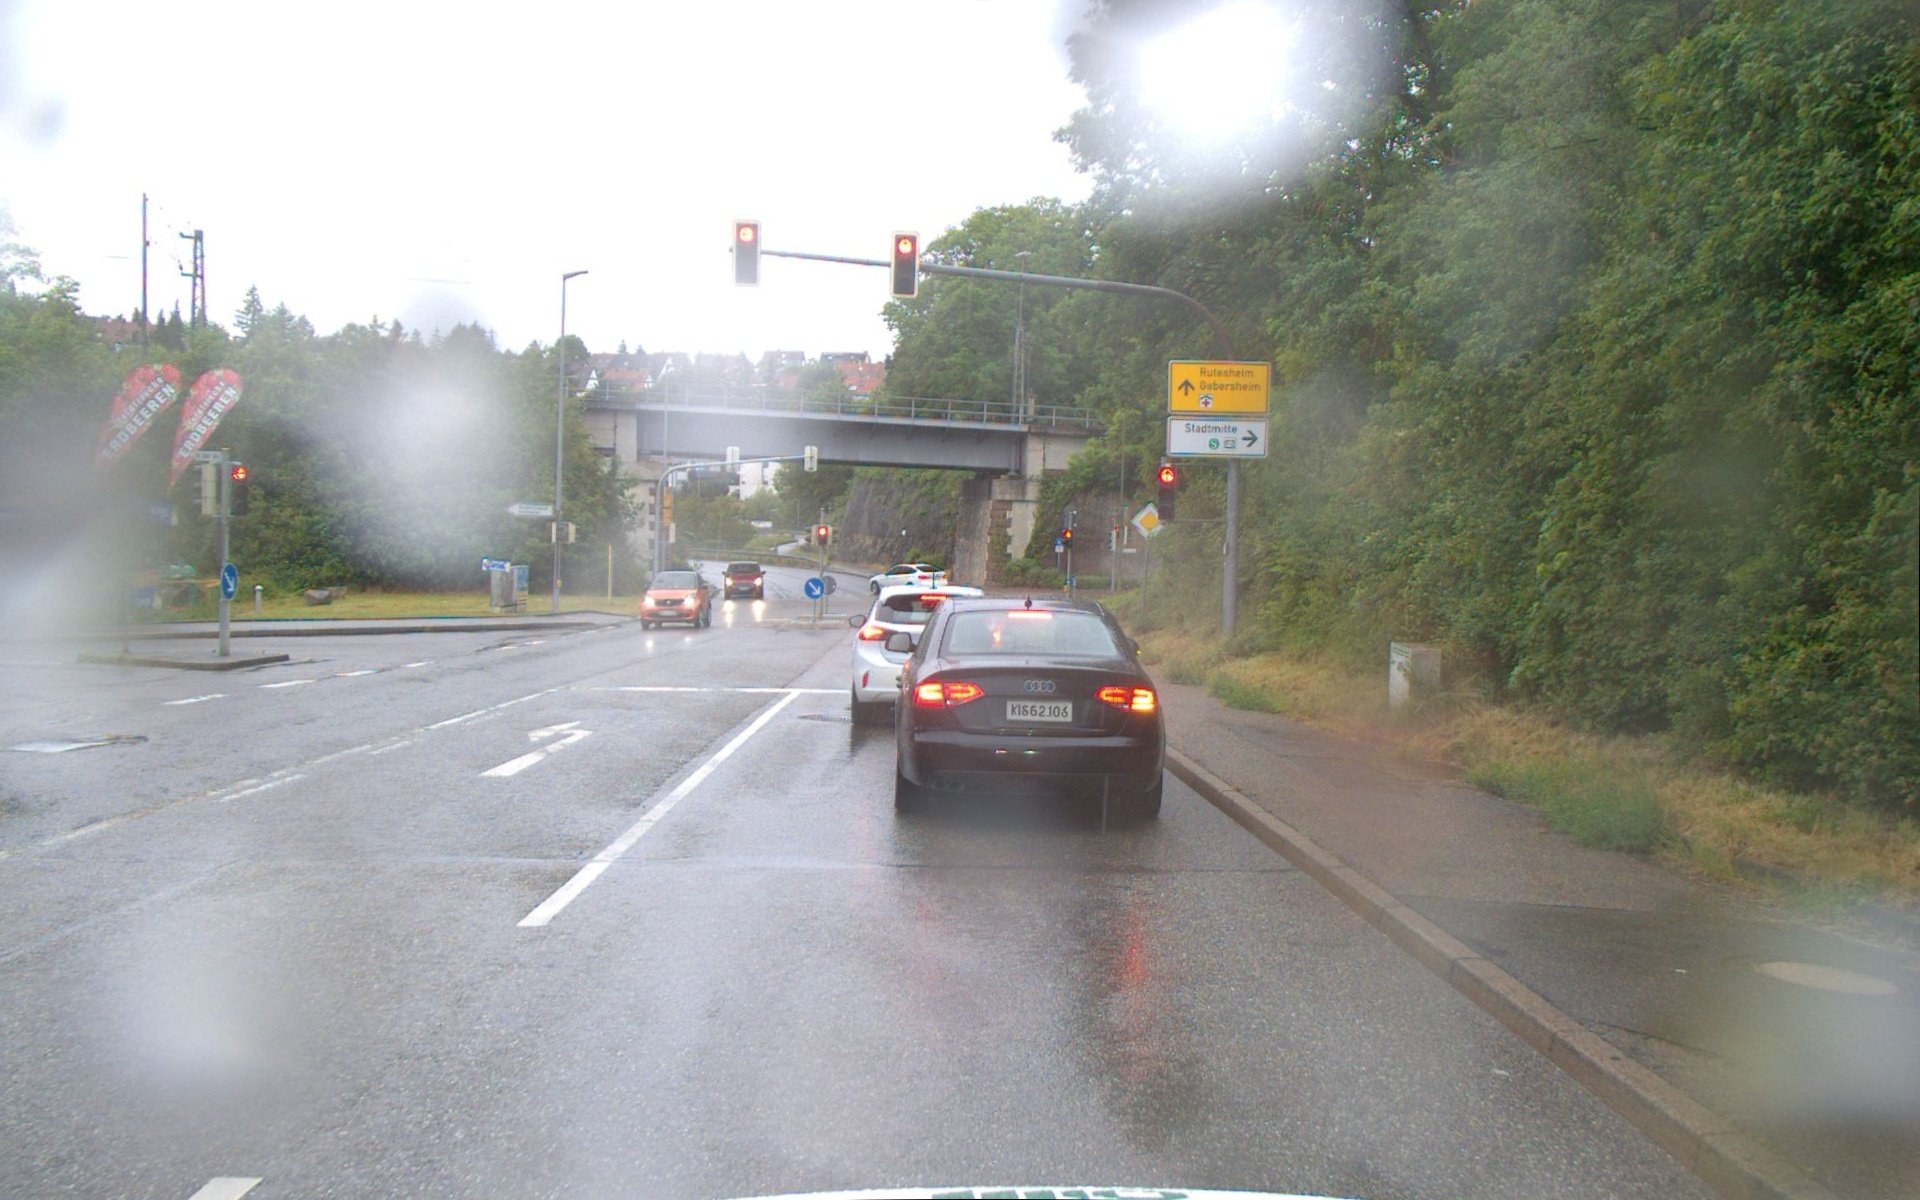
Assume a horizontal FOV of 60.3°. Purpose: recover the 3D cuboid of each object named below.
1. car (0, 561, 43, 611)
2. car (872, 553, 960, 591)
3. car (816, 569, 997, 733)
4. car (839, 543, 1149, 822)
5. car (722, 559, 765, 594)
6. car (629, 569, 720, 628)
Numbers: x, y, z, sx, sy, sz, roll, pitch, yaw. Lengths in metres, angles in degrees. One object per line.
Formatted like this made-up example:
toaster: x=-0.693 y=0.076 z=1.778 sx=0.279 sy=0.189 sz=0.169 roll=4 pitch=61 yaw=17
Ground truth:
car: x=-32.241 y=-0.473 z=55.055 sx=1.960 sy=1.612 sz=3.986 roll=-1 pitch=1 yaw=-14
car: x=-2.193 y=-1.361 z=81.127 sx=4.404 sy=1.773 sz=1.798 roll=0 pitch=-1 yaw=44
car: x=-0.566 y=0.521 z=18.452 sx=1.786 sy=1.613 sz=3.999 roll=1 pitch=0 yaw=-1
car: x=0.171 y=0.469 z=11.836 sx=1.832 sy=1.645 sz=3.999 roll=0 pitch=1 yaw=-1
car: x=-10.345 y=-1.131 z=79.079 sx=1.956 sy=1.656 sz=3.993 roll=0 pitch=1 yaw=-8
car: x=-8.067 y=-0.030 z=47.073 sx=1.953 sy=1.613 sz=3.999 roll=1 pitch=0 yaw=-1
